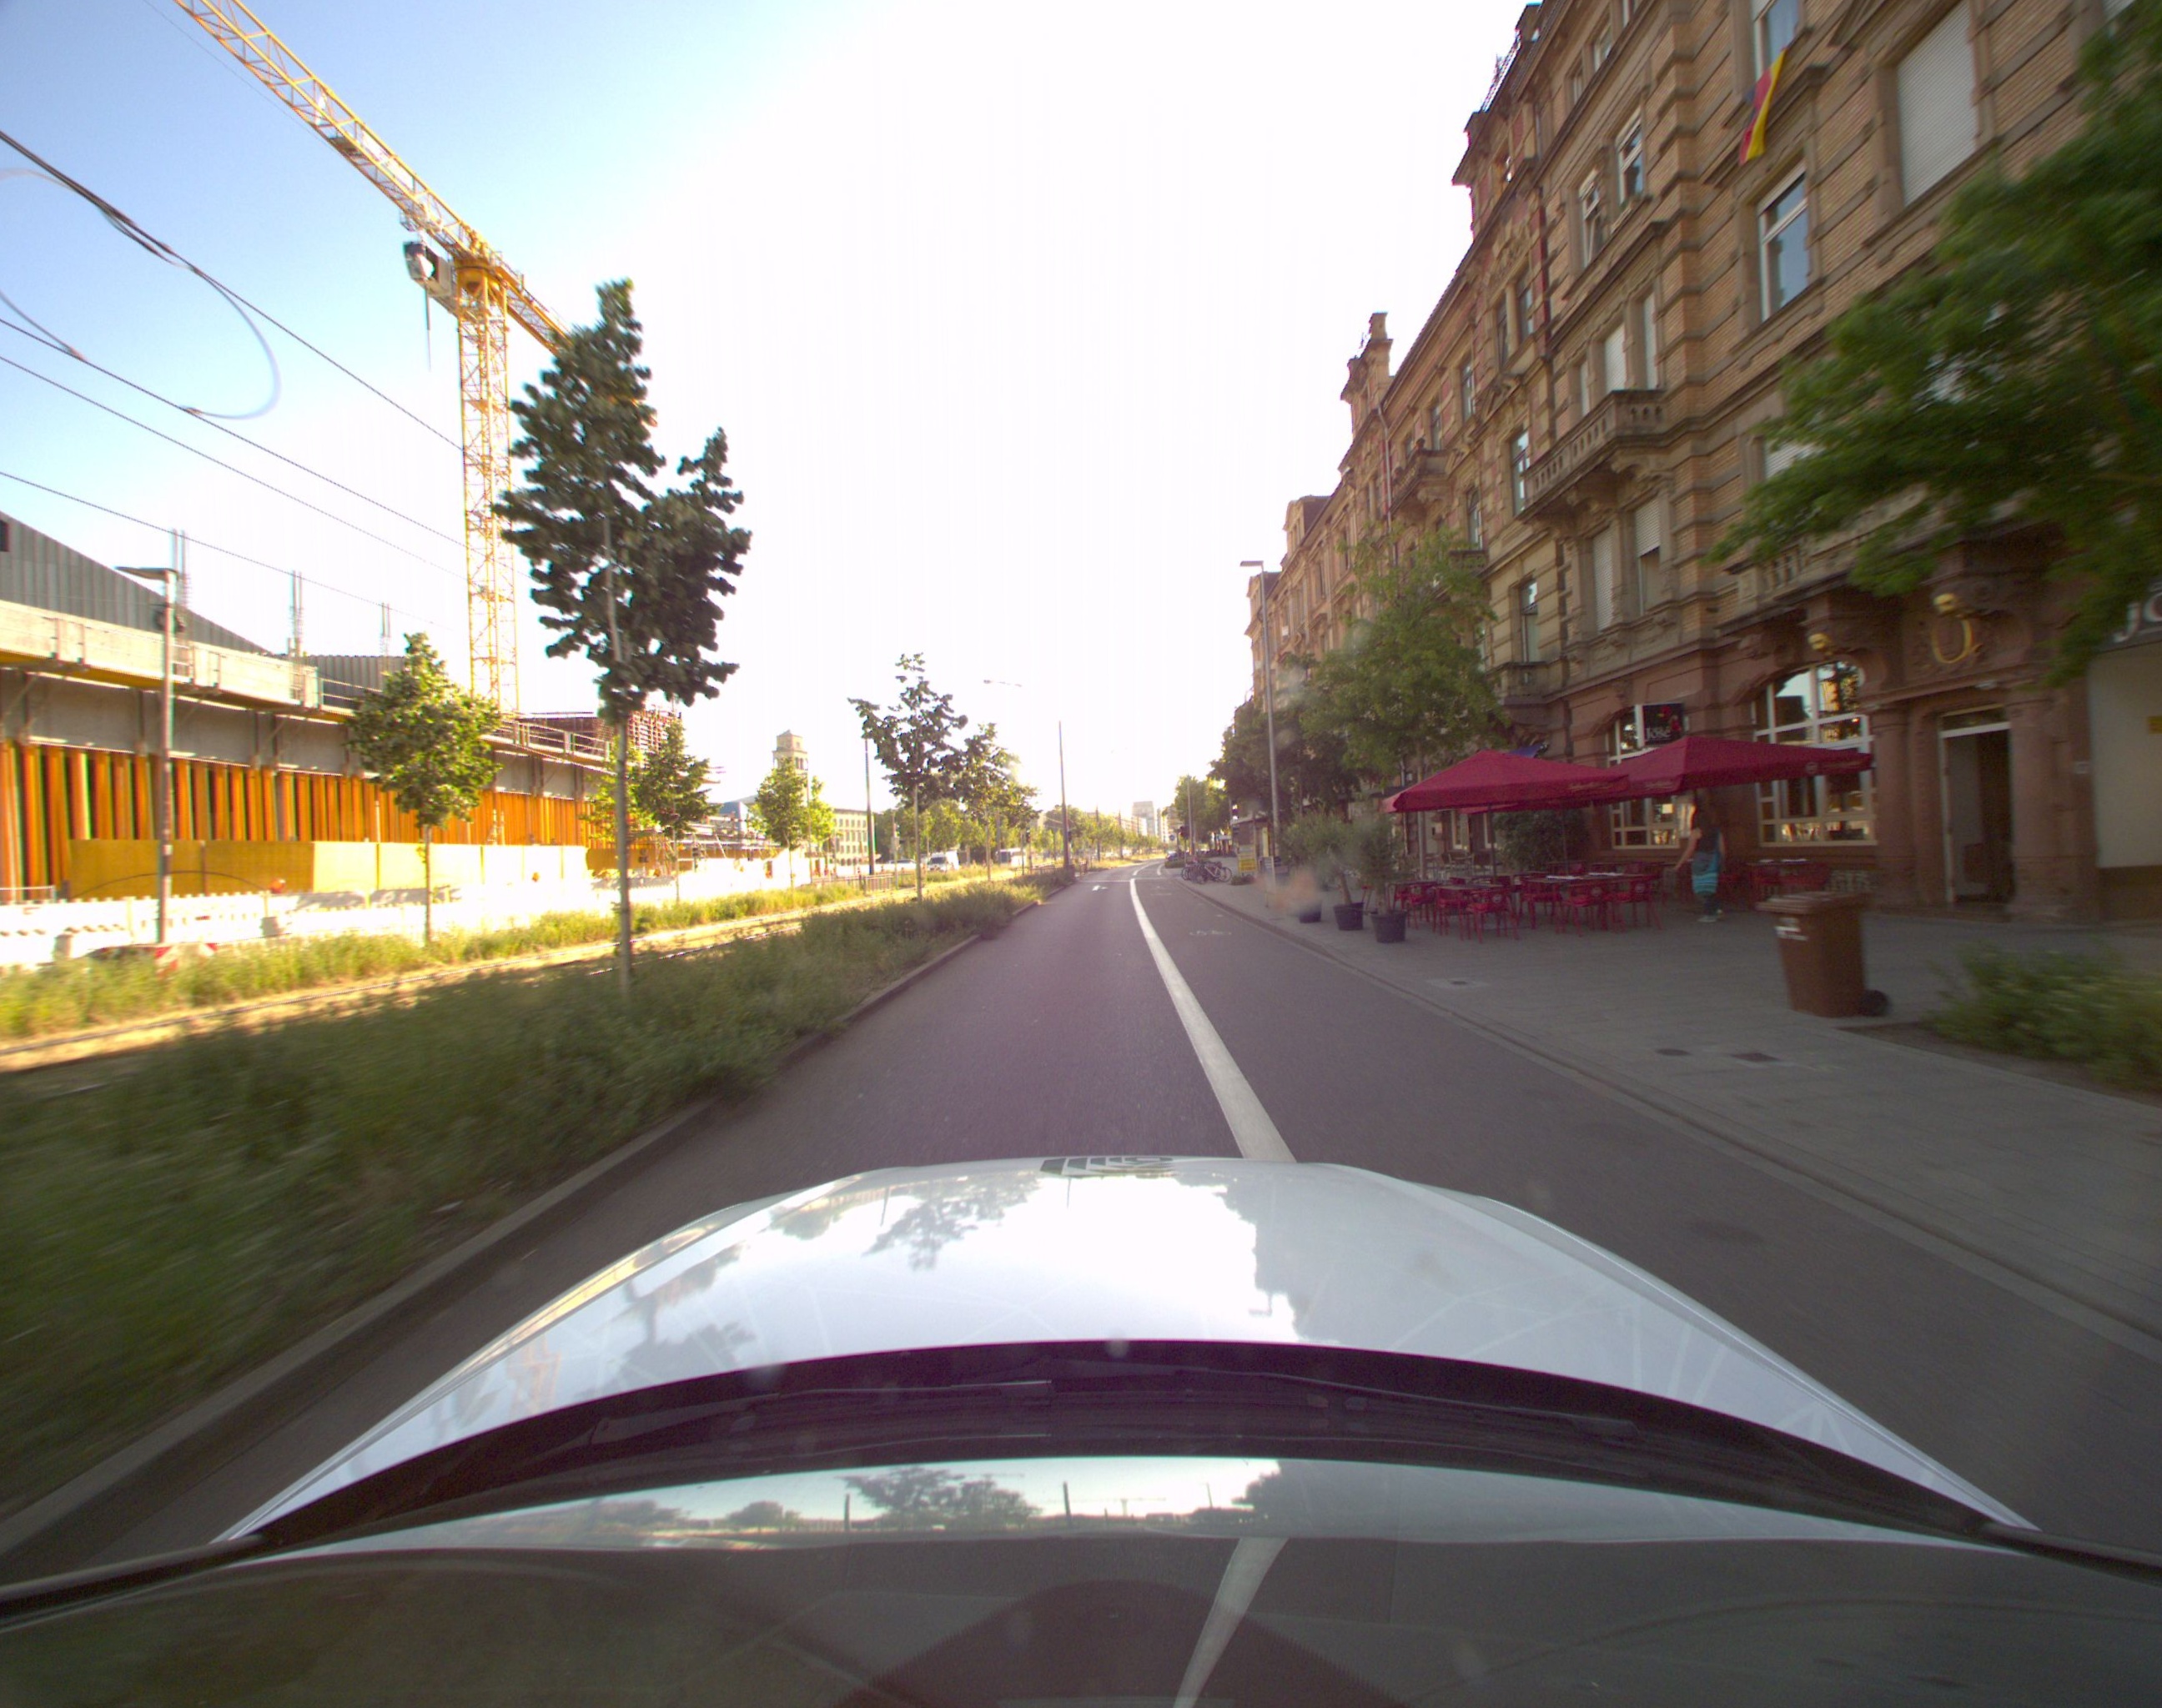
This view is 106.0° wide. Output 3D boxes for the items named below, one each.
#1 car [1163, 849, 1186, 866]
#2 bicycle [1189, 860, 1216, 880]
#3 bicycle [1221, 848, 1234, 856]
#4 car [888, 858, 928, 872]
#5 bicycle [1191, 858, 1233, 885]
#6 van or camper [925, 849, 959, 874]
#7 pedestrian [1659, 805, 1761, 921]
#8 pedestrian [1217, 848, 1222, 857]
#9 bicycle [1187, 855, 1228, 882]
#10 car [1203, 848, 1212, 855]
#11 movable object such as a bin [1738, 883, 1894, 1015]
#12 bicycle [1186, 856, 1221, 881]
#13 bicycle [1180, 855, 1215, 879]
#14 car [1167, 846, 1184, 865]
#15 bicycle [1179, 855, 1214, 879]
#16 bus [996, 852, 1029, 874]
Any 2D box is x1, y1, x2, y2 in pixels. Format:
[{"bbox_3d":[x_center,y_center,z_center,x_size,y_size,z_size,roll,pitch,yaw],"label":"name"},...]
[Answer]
[{"bbox_3d":[9.698,0.372,85.161,1.924,1.598,4.702,-5,0,2],"label":"car"},{"bbox_3d":[6.044,0.816,40.622,1.268,0.877,0.508,-5,0,7],"label":"bicycle"},{"bbox_3d":[22.028,-0.259,122.441,1.891,1.093,0.393,-4,-1,3],"label":"bicycle"},{"bbox_3d":[-25.115,1.579,118.351,5.198,1.717,2.129,-3,0,7],"label":"car"},{"bbox_3d":[6.010,0.794,37.457,1.795,1.047,0.567,-5,0,7],"label":"bicycle"},{"bbox_3d":[-15.366,0.776,90.467,2.213,2.510,7.203,-5,0,2],"label":"van or camper"},{"bbox_3d":[8.941,0.124,11.612,0.725,1.534,0.797,-5,0,1],"label":"pedestrian"},{"bbox_3d":[24.999,-0.224,147.431,0.784,1.648,1.140,-4,-1,9],"label":"pedestrian"},{"bbox_3d":[6.022,0.704,38.970,1.834,1.104,0.567,-5,0,7],"label":"bicycle"},{"bbox_3d":[28.693,-0.486,184.735,1.695,1.418,4.290,-5,0,11],"label":"car"},{"bbox_3d":[5.687,0.730,6.346,0.669,0.924,0.563,-6,-2,21],"label":"movable object such as a bin"},{"bbox_3d":[6.311,0.752,42.060,1.712,1.104,0.508,-5,0,7],"label":"bicycle"},{"bbox_3d":[6.189,0.697,43.348,1.744,1.104,0.508,-5,0,7],"label":"bicycle"},{"bbox_3d":[10.741,0.134,92.632,1.726,1.919,4.401,-5,0,6],"label":"car"},{"bbox_3d":[6.235,0.704,43.938,1.744,1.104,0.508,-5,0,7],"label":"bicycle"},{"bbox_3d":[-12.209,1.560,146.820,2.782,3.594,12.730,-3,0,9],"label":"bus"}]
